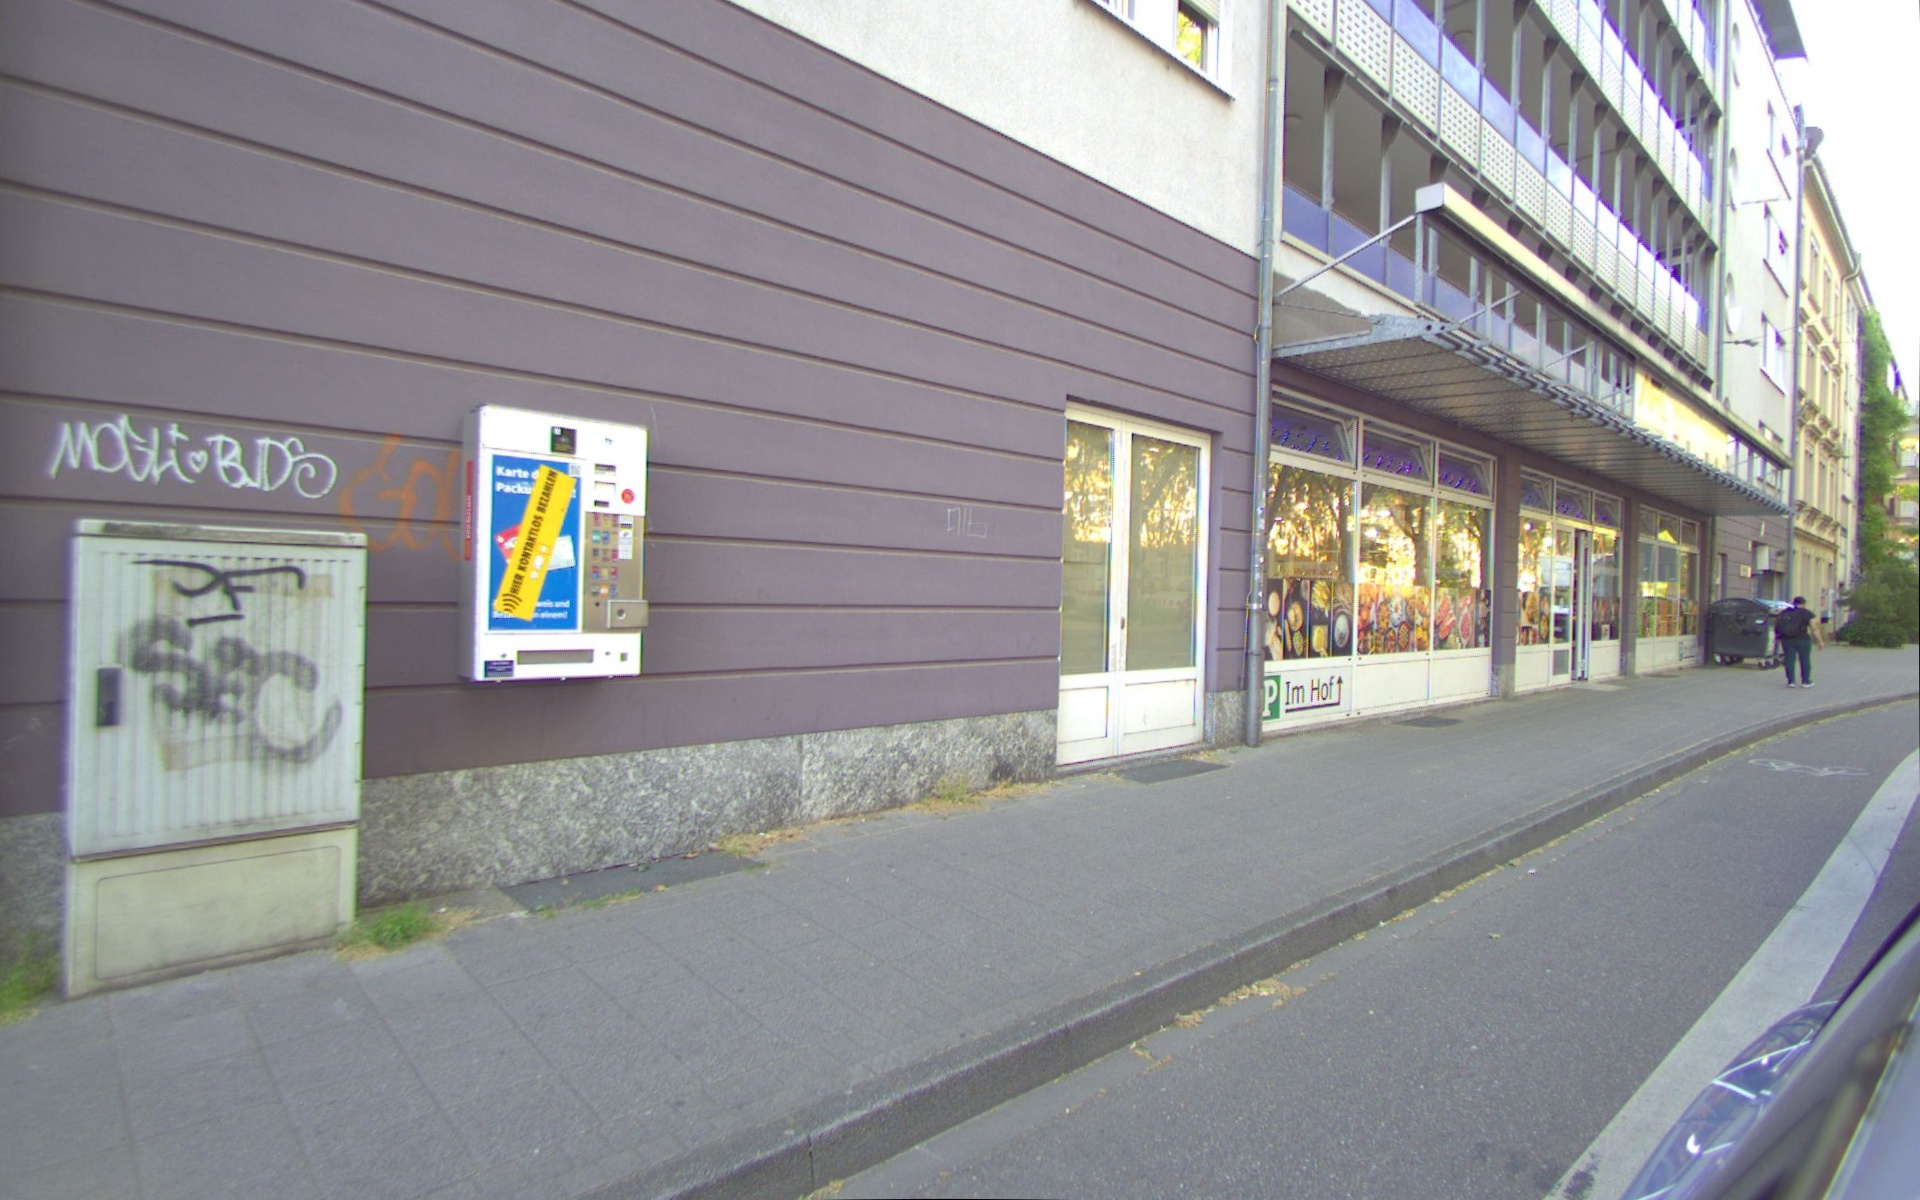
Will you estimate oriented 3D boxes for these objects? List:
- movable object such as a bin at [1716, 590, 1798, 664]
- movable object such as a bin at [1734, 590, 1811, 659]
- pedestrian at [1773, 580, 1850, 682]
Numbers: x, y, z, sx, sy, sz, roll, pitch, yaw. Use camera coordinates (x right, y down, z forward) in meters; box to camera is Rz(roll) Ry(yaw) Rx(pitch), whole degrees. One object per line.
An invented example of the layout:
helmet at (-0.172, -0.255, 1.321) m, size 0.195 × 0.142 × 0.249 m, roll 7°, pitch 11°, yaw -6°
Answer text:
movable object such as a bin at (16.341, 0.539, 20.759) m, size 0.923 × 1.444 × 1.158 m, roll 1°, pitch 1°, yaw -40°
movable object such as a bin at (17.781, 0.513, 22.156) m, size 0.923 × 1.444 × 1.158 m, roll 1°, pitch 1°, yaw -40°
pedestrian at (14.125, 0.491, 16.794) m, size 0.862 × 1.611 × 0.613 m, roll 4°, pitch 2°, yaw 44°
